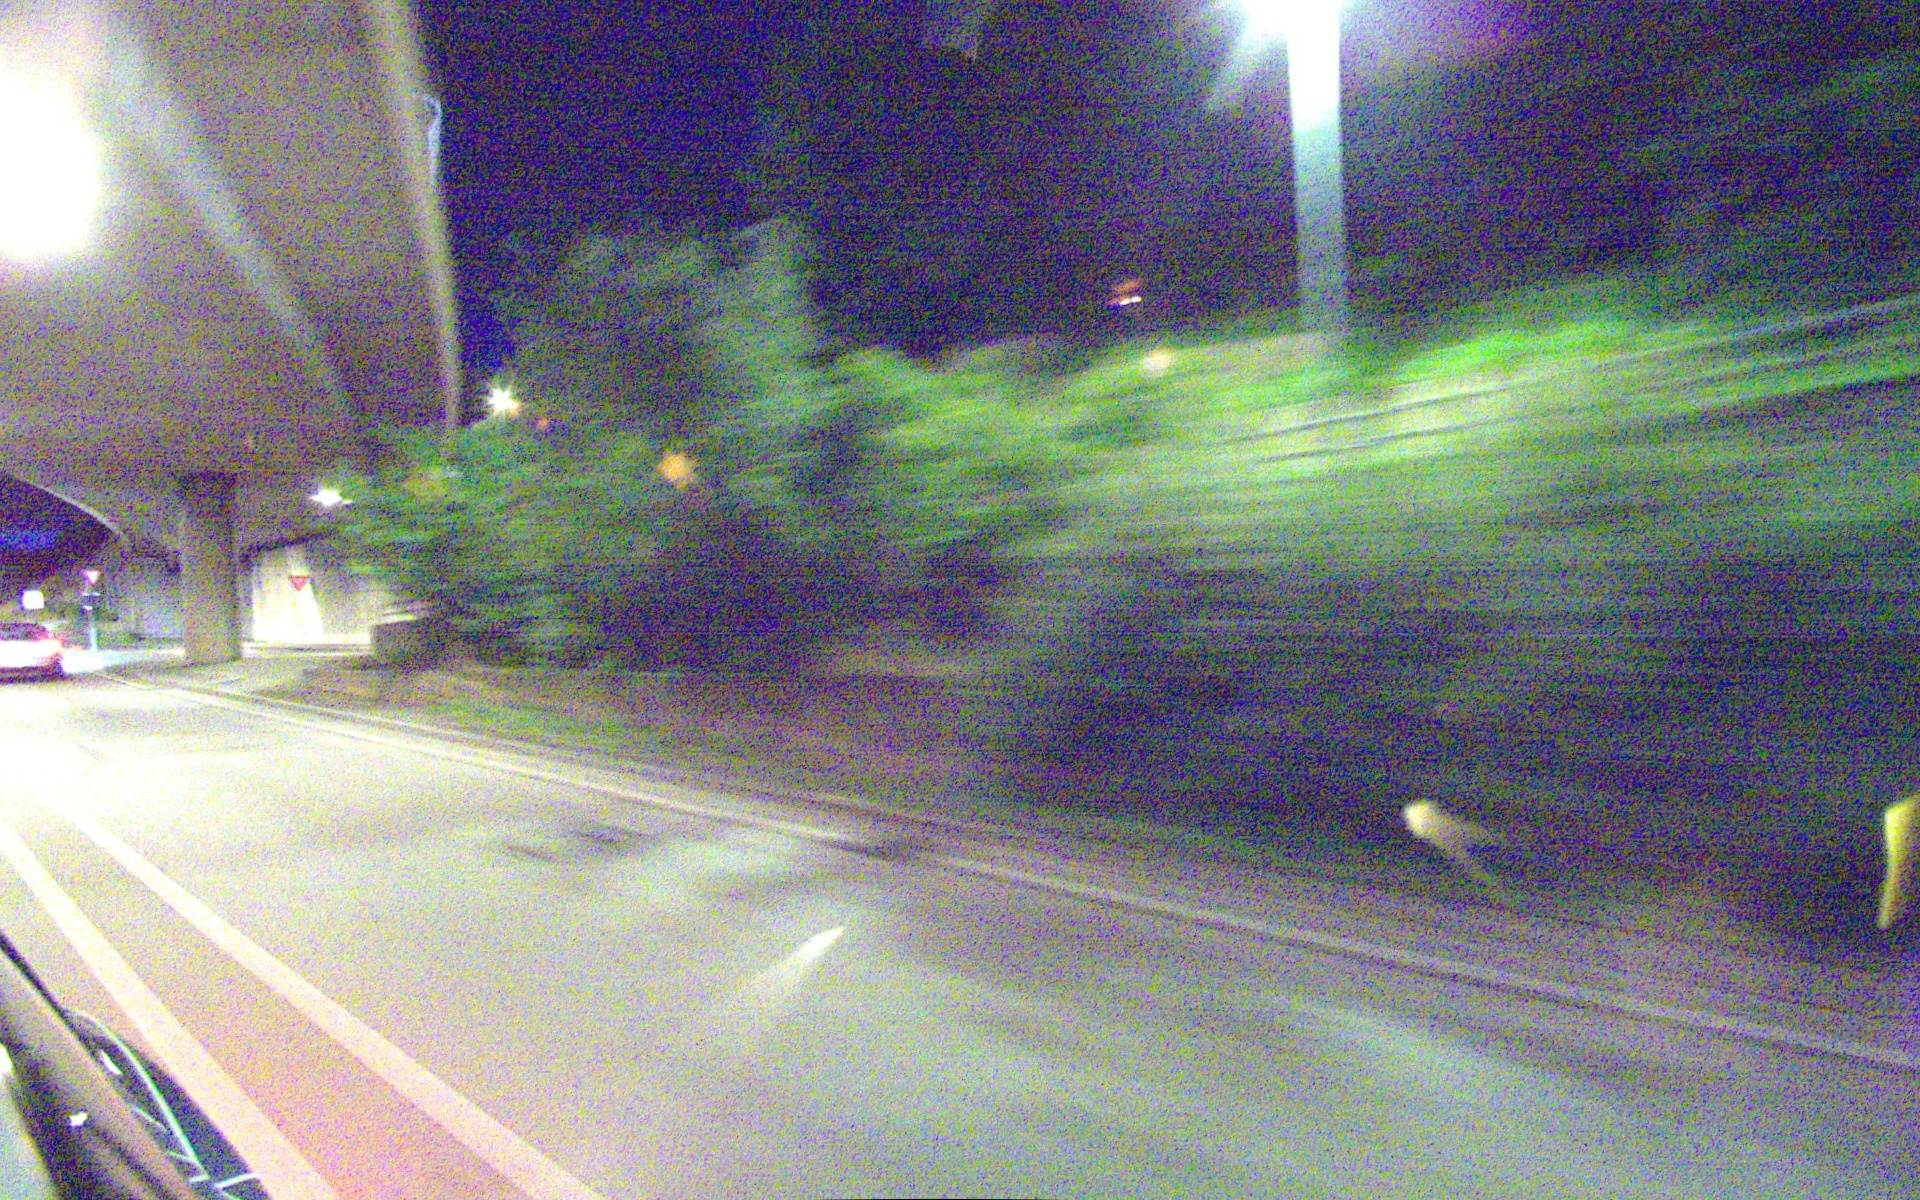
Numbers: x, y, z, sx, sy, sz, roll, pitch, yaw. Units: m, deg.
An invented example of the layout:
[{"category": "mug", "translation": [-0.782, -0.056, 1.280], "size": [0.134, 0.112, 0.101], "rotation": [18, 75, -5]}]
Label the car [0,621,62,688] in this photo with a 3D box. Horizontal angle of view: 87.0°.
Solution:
[{"category": "car", "translation": [-23.839, 1.317, 25.179], "size": [4.171, 1.458, 1.769], "rotation": [0, 1, 42]}]
